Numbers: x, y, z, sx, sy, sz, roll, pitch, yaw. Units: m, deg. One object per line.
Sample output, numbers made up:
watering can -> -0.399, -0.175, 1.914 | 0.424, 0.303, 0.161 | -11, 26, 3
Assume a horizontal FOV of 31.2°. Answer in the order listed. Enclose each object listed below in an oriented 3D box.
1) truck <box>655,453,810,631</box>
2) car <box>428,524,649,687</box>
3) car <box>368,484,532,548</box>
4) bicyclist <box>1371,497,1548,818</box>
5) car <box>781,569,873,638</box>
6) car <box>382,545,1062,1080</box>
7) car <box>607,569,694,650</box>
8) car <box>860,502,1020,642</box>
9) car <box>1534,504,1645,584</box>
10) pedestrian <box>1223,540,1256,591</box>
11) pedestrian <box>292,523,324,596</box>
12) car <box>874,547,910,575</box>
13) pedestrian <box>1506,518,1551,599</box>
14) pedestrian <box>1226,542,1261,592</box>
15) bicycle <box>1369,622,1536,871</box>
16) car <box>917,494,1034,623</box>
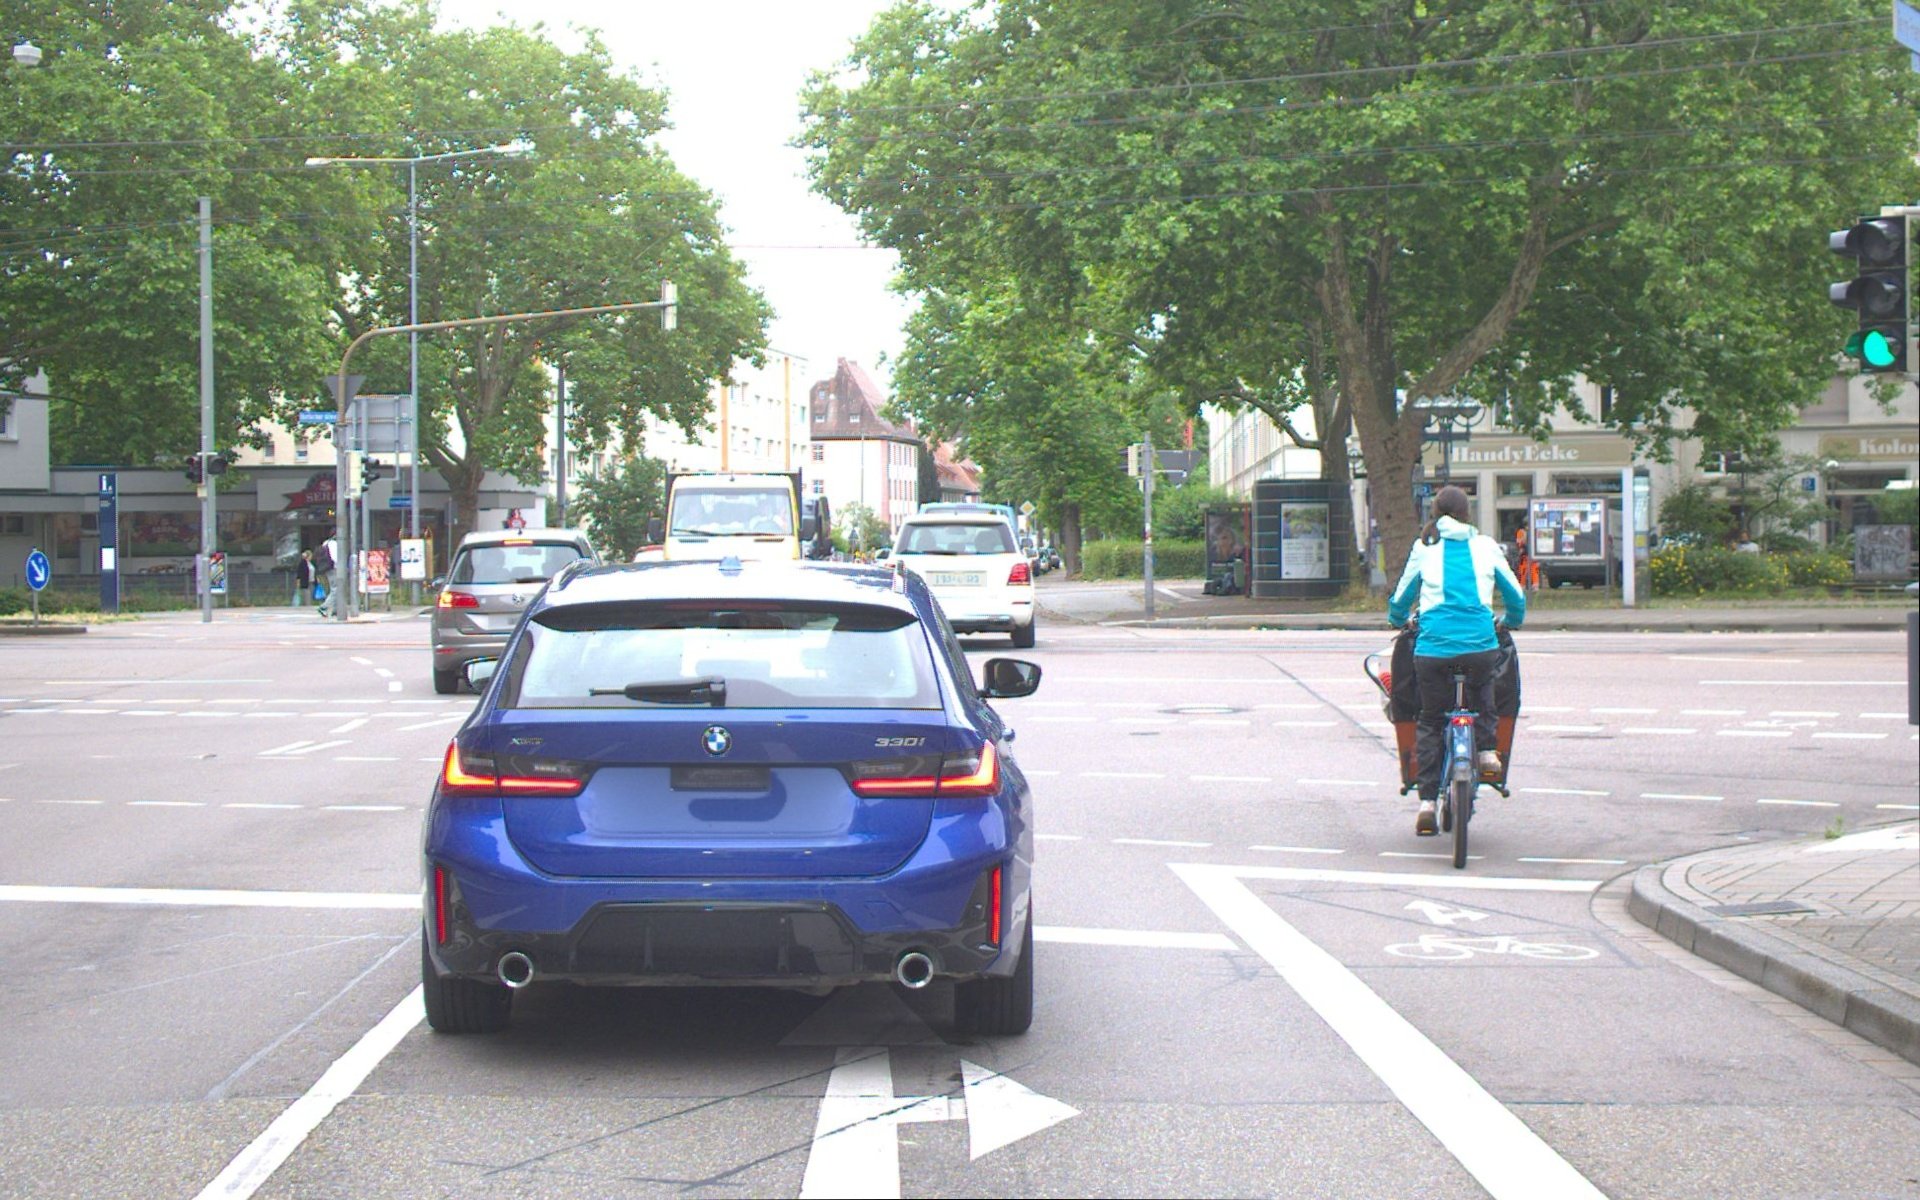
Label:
truck -> -3.260, -0.858, 49.921 | 2.074, 2.400, 5.463 | -1, 1, -3
car -> -4.153, 0.009, 34.422 | 1.732, 1.519, 4.000 | -1, 1, 0
car -> -14.024, -2.286, 94.594 | 3.987, 1.700, 2.000 | 0, 1, -34
bicyclist -> 2.430, 0.261, 16.807 | 0.686, 1.512, 1.058 | -1, 1, 0
car -> -2.921, 0.055, 76.390 | 1.809, 1.422, 4.317 | -1, 1, 1
car -> -0.660, 0.539, 11.441 | 1.815, 1.400, 4.320 | -1, 1, 0
car -> -8.139, 0.227, 90.595 | 1.920, 2.007, 3.936 | -1, 1, 0
car -> -0.248, -0.366, 41.516 | 1.815, 1.586, 4.000 | -1, 1, 0
car -> 17.658, -1.567, 96.313 | 2.177, 2.193, 3.995 | 0, 1, 24
pedestrian -> 7.547, -0.935, 92.936 | 0.817, 1.367, 0.763 | -1, 1, 0
pedestrian -> -16.112, -1.001, 84.934 | 0.574, 1.779, 0.620 | -1, 1, 8
car -> -3.649, -2.107, 184.140 | 1.853, 1.448, 4.167 | 0, 1, 0
pedestrian -> 12.349, -0.904, 74.680 | 0.784, 1.737, 0.925 | -1, 1, -2
pedestrian -> 7.573, -0.885, 91.953 | 0.853, 1.310, 0.763 | -1, 1, 0
bicycle -> 2.422, 0.688, 17.076 | 0.494, 1.094, 2.139 | -1, 1, 0
car -> 0.221, -0.692, 56.030 | 1.815, 1.998, 4.000 | -1, 1, 0
